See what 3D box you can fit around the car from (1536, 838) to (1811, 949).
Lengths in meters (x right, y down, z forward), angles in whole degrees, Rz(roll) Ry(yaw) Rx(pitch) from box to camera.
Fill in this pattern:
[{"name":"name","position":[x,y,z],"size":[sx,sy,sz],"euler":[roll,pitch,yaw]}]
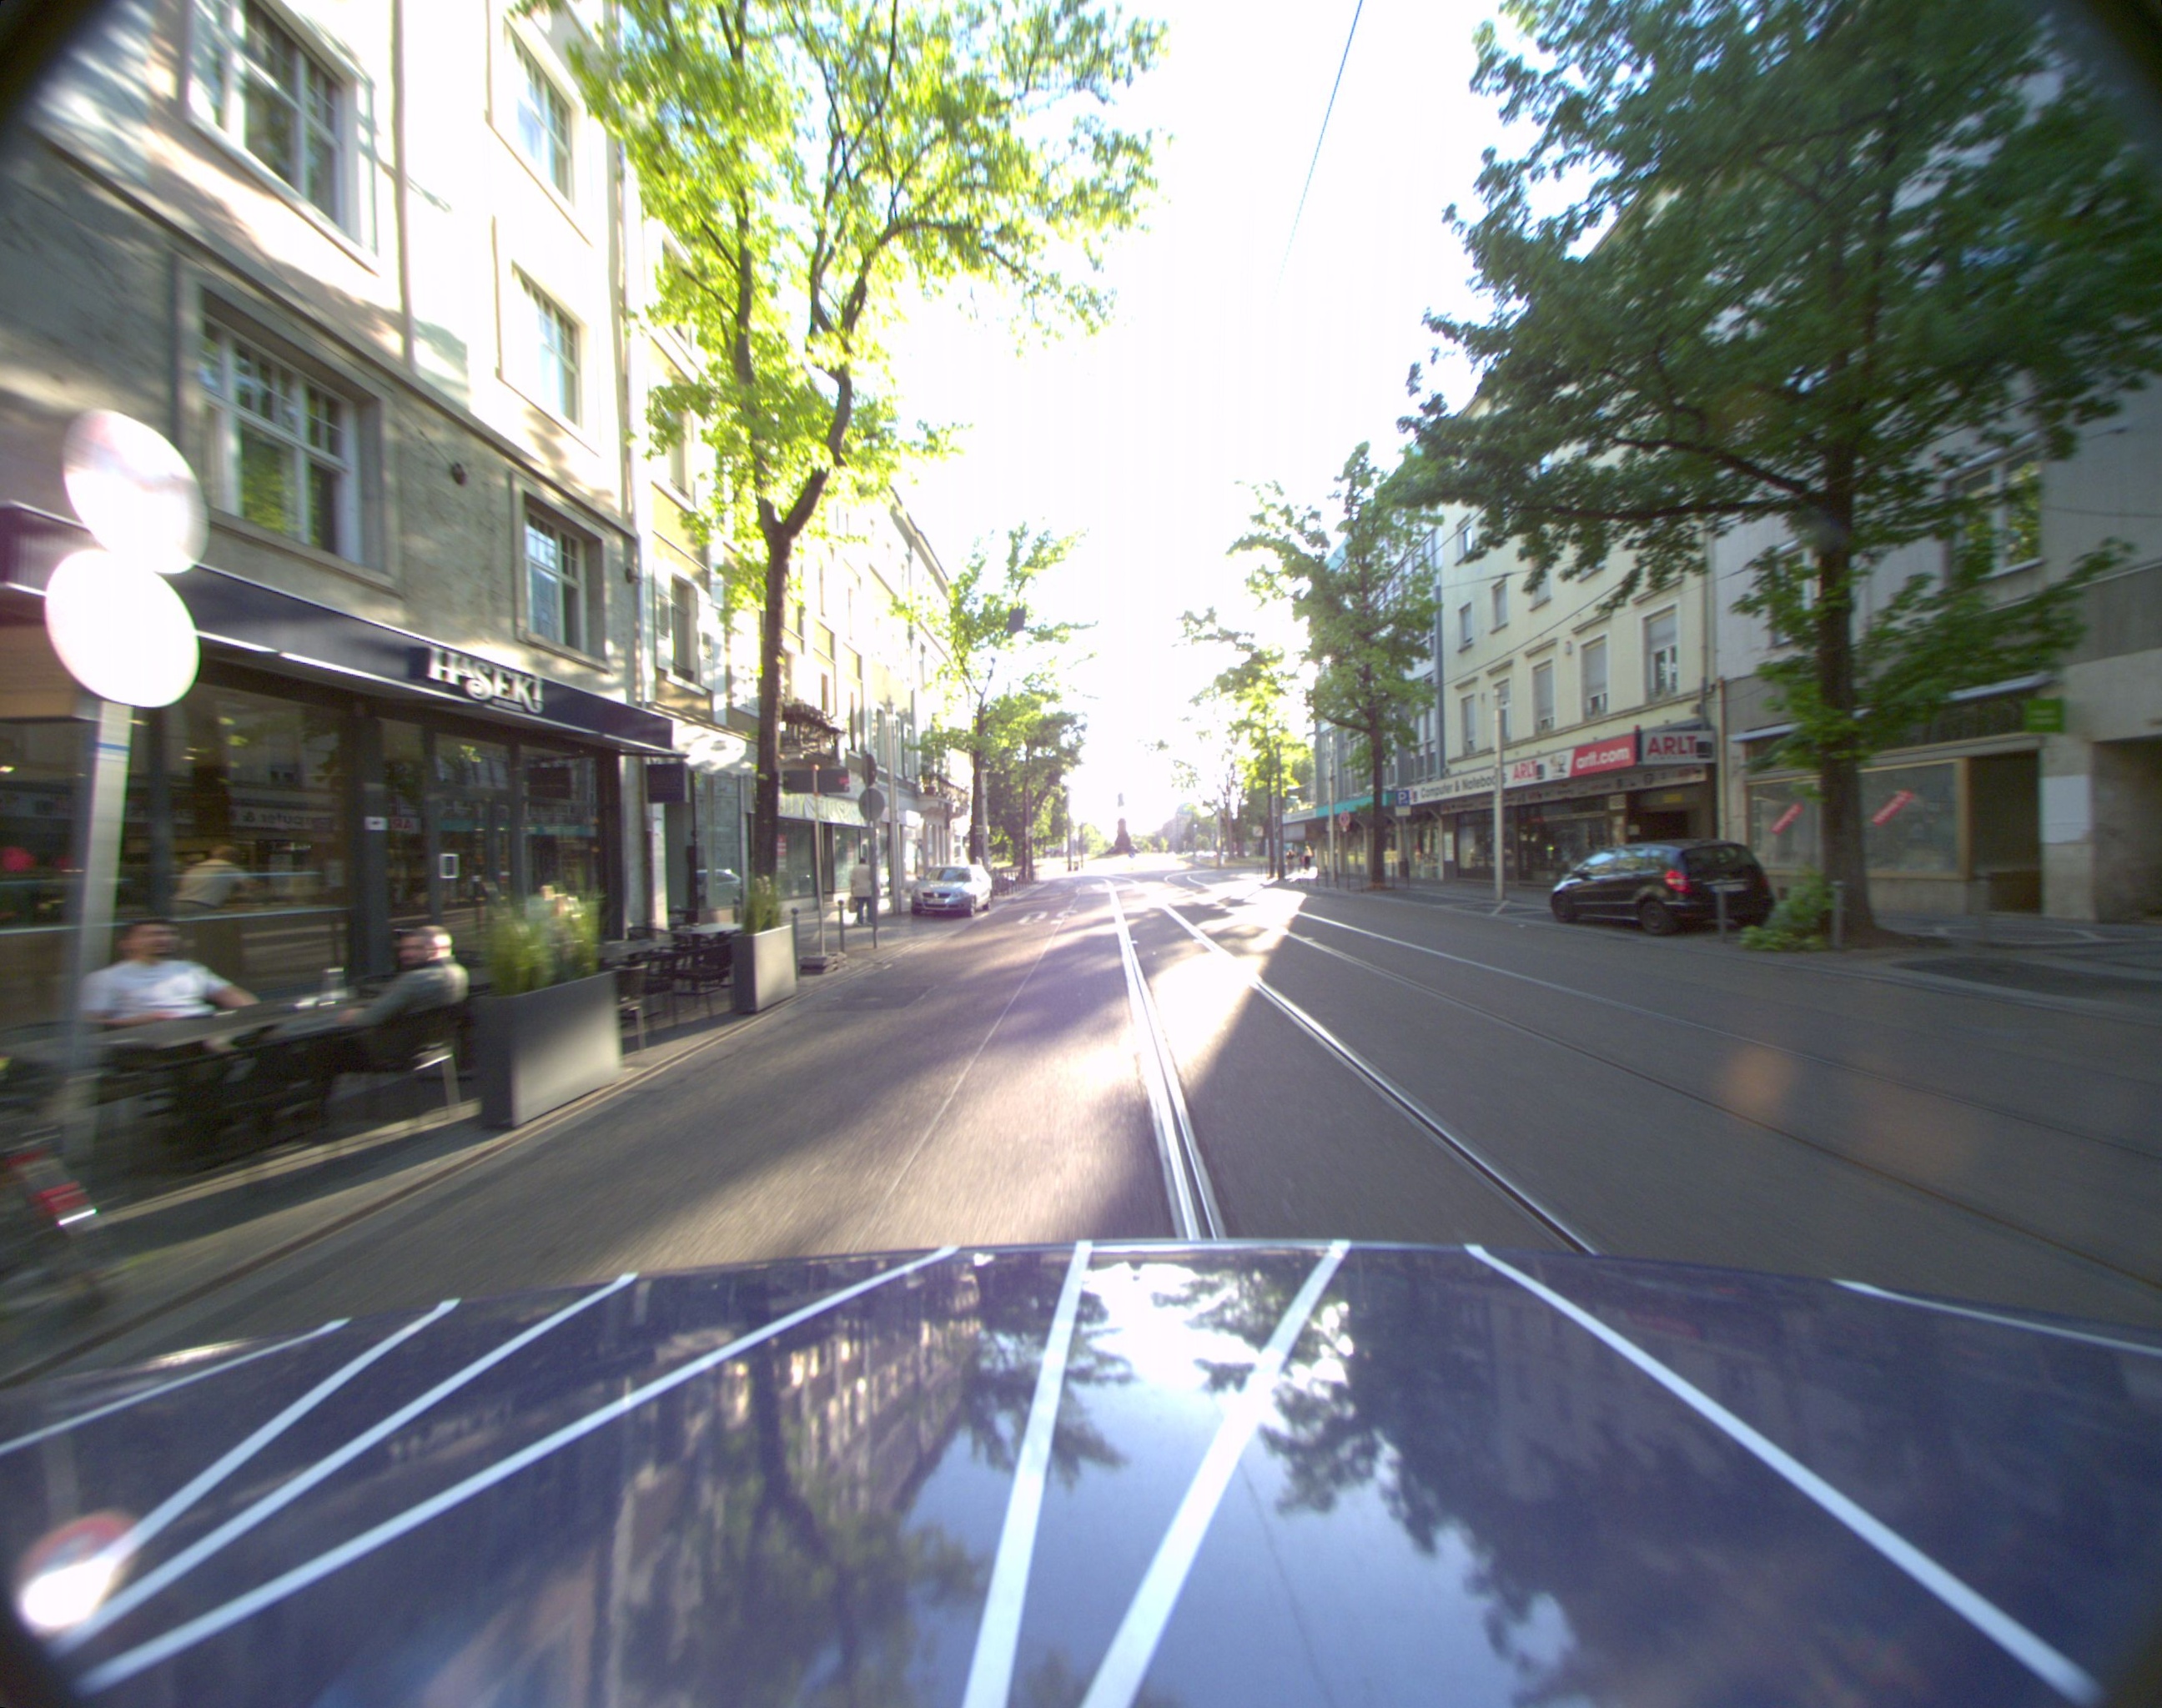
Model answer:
[{"name":"car","position":[10.634,0.614,14.096],"size":[1.966,1.630,4.000],"euler":[-4,0,2]}]

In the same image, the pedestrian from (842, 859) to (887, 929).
[{"name":"pedestrian","position":[-5.137,0.934,18.050],"size":[0.805,1.633,0.756],"euler":[-1,1,2]}]

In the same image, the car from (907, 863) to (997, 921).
[{"name":"car","position":[-3.775,1.053,22.991],"size":[1.780,1.432,4.422],"euler":[1,1,2]}]

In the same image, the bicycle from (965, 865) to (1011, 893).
[{"name":"bicycle","position":[-4.114,1.114,33.653],"size":[1.870,1.148,0.562],"euler":[-2,1,4]}]

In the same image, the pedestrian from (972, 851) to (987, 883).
[{"name":"pedestrian","position":[-6.562,0.811,49.067],"size":[0.846,2.002,0.843],"euler":[-2,1,-7]}]

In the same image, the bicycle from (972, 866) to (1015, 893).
[{"name":"bicycle","position":[-4.003,1.162,34.832],"size":[1.870,1.148,0.348],"euler":[-2,1,4]}]

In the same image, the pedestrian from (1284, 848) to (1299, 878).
[{"name":"pedestrian","position":[14.511,0.632,52.480],"size":[0.798,2.002,0.734],"euler":[-2,1,3]}]

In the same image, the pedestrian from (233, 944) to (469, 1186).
[{"name":"pedestrian","position":[-4.294,1.205,4.509],"size":[0.819,1.258,0.586],"euler":[-1,1,7]}]

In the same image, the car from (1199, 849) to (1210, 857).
[{"name":"car","position":[32.125,-0.201,197.373],"size":[1.999,2.002,4.547],"euler":[-2,1,-1]}]

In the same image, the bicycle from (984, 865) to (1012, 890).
[{"name":"bicycle","position":[-3.899,1.090,35.790],"size":[0.462,1.148,1.677],"euler":[-3,1,-38]}]

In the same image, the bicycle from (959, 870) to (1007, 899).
[{"name":"bicycle","position":[-4.070,1.261,31.730],"size":[1.870,1.148,0.562],"euler":[-2,1,4]}]

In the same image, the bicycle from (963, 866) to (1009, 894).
[{"name":"bicycle","position":[-4.111,1.123,32.952],"size":[1.870,1.148,0.562],"euler":[-2,1,4]}]

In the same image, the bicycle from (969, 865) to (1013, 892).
[{"name":"bicycle","position":[-4.071,1.117,34.296],"size":[1.870,1.148,0.562],"euler":[-2,1,4]}]

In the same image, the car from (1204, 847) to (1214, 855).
[{"name":"car","position":[31.434,-0.811,186.645],"size":[1.998,2.002,4.000],"euler":[-1,1,3]}]

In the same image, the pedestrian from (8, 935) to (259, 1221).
[{"name":"pedestrian","position":[-5.489,1.224,4.469],"size":[0.711,1.379,0.745],"euler":[-2,1,-36]}]

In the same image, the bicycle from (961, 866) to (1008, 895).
[{"name":"bicycle","position":[-4.109,1.141,32.329],"size":[1.870,1.148,0.562],"euler":[-2,1,4]}]

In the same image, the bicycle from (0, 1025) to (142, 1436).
[{"name":"bicycle","position":[-4.219,1.273,2.745],"size":[1.727,1.132,0.547],"euler":[1,1,22]}]

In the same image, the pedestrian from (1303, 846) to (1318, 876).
[{"name":"pedestrian","position":[15.757,0.457,52.216],"size":[0.798,2.002,0.734],"euler":[-2,1,3]}]

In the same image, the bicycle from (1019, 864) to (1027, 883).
[{"name":"bicycle","position":[-3.589,1.192,46.917],"size":[0.355,1.070,1.698],"euler":[-2,1,-1]}]
